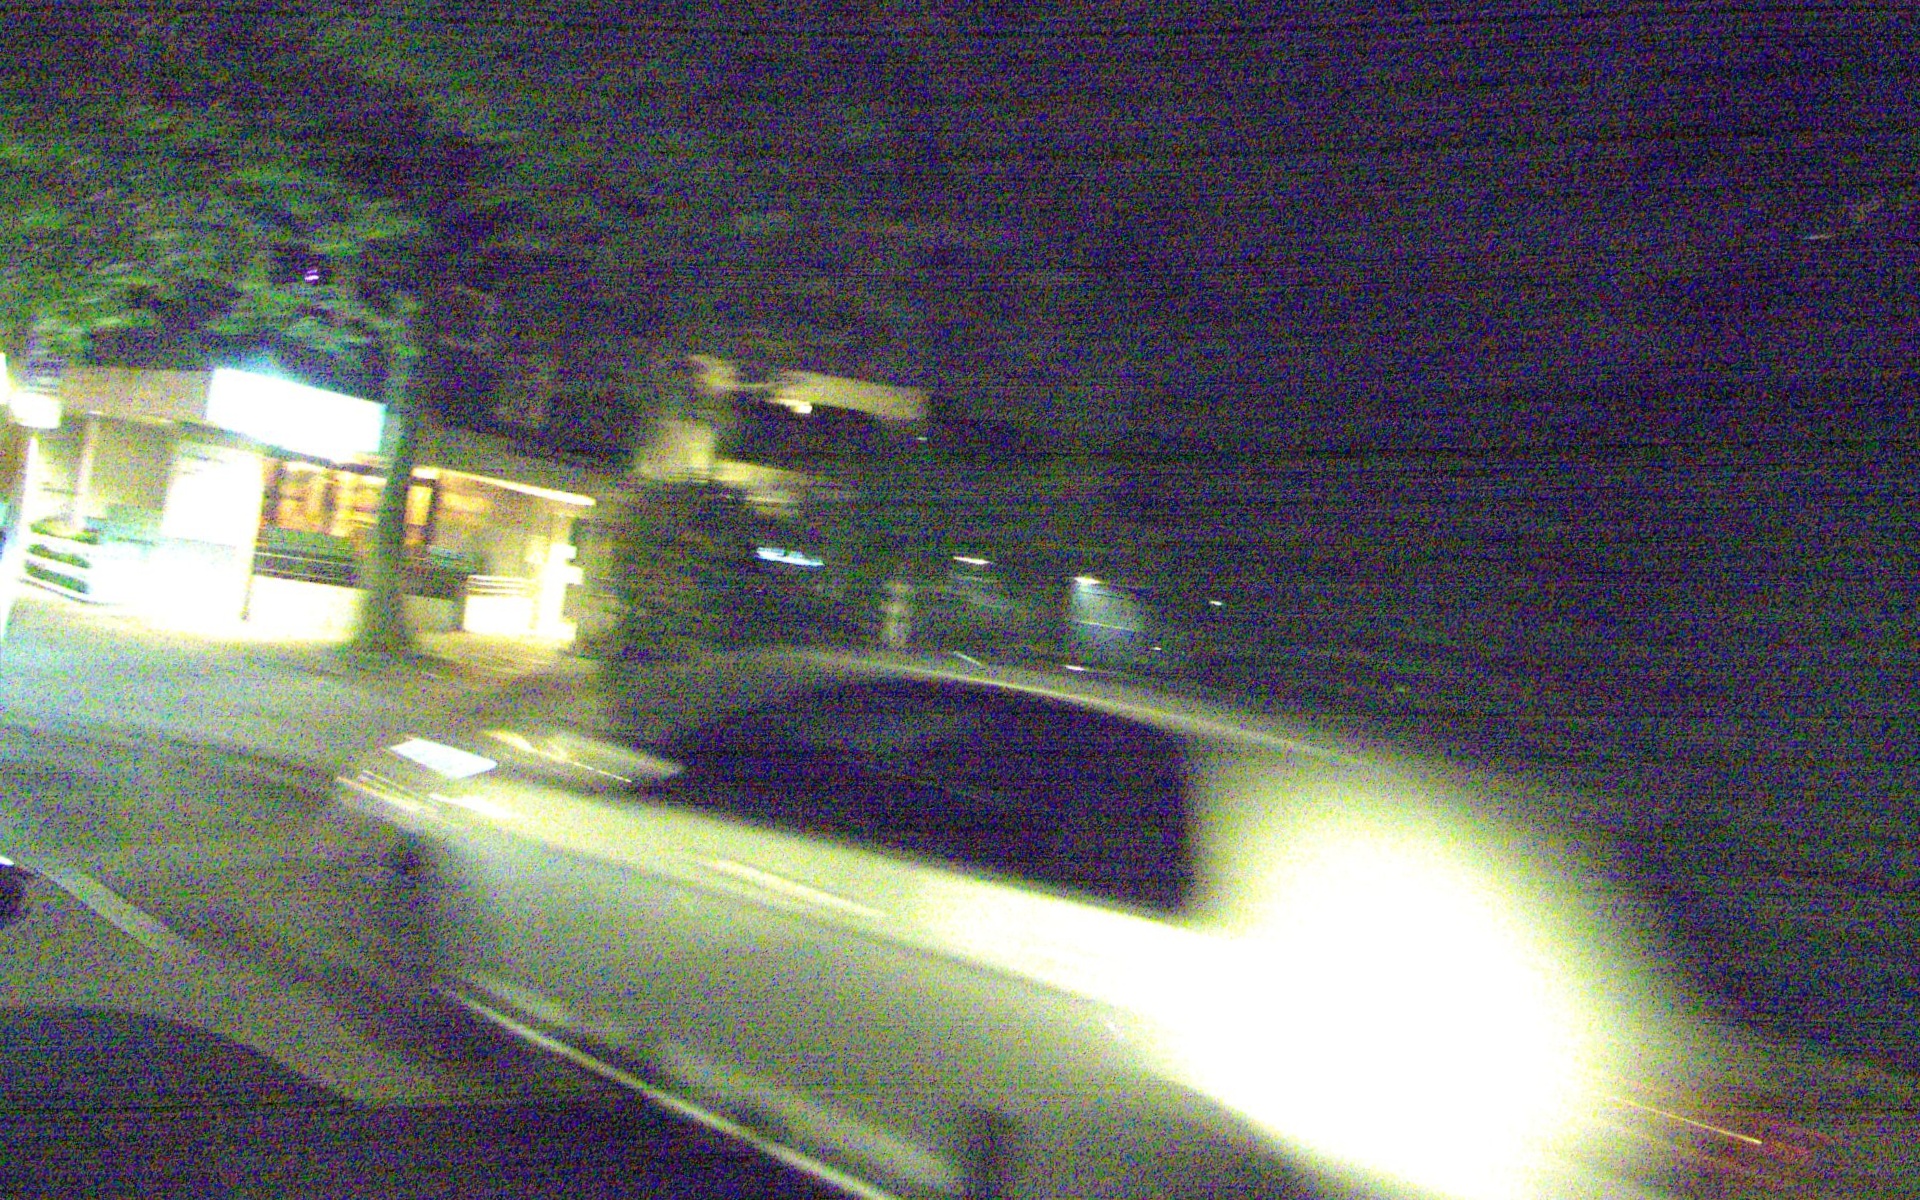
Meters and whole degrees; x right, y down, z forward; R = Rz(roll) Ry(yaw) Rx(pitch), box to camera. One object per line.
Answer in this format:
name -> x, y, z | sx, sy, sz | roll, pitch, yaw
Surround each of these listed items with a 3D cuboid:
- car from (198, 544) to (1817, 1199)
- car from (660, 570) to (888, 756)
car -> -0.301, 0.845, 3.199 | 4.217, 1.453, 1.785 | 7, -3, 30
car -> -1.956, 0.664, 11.840 | 1.675, 1.604, 4.070 | 7, -1, 1
